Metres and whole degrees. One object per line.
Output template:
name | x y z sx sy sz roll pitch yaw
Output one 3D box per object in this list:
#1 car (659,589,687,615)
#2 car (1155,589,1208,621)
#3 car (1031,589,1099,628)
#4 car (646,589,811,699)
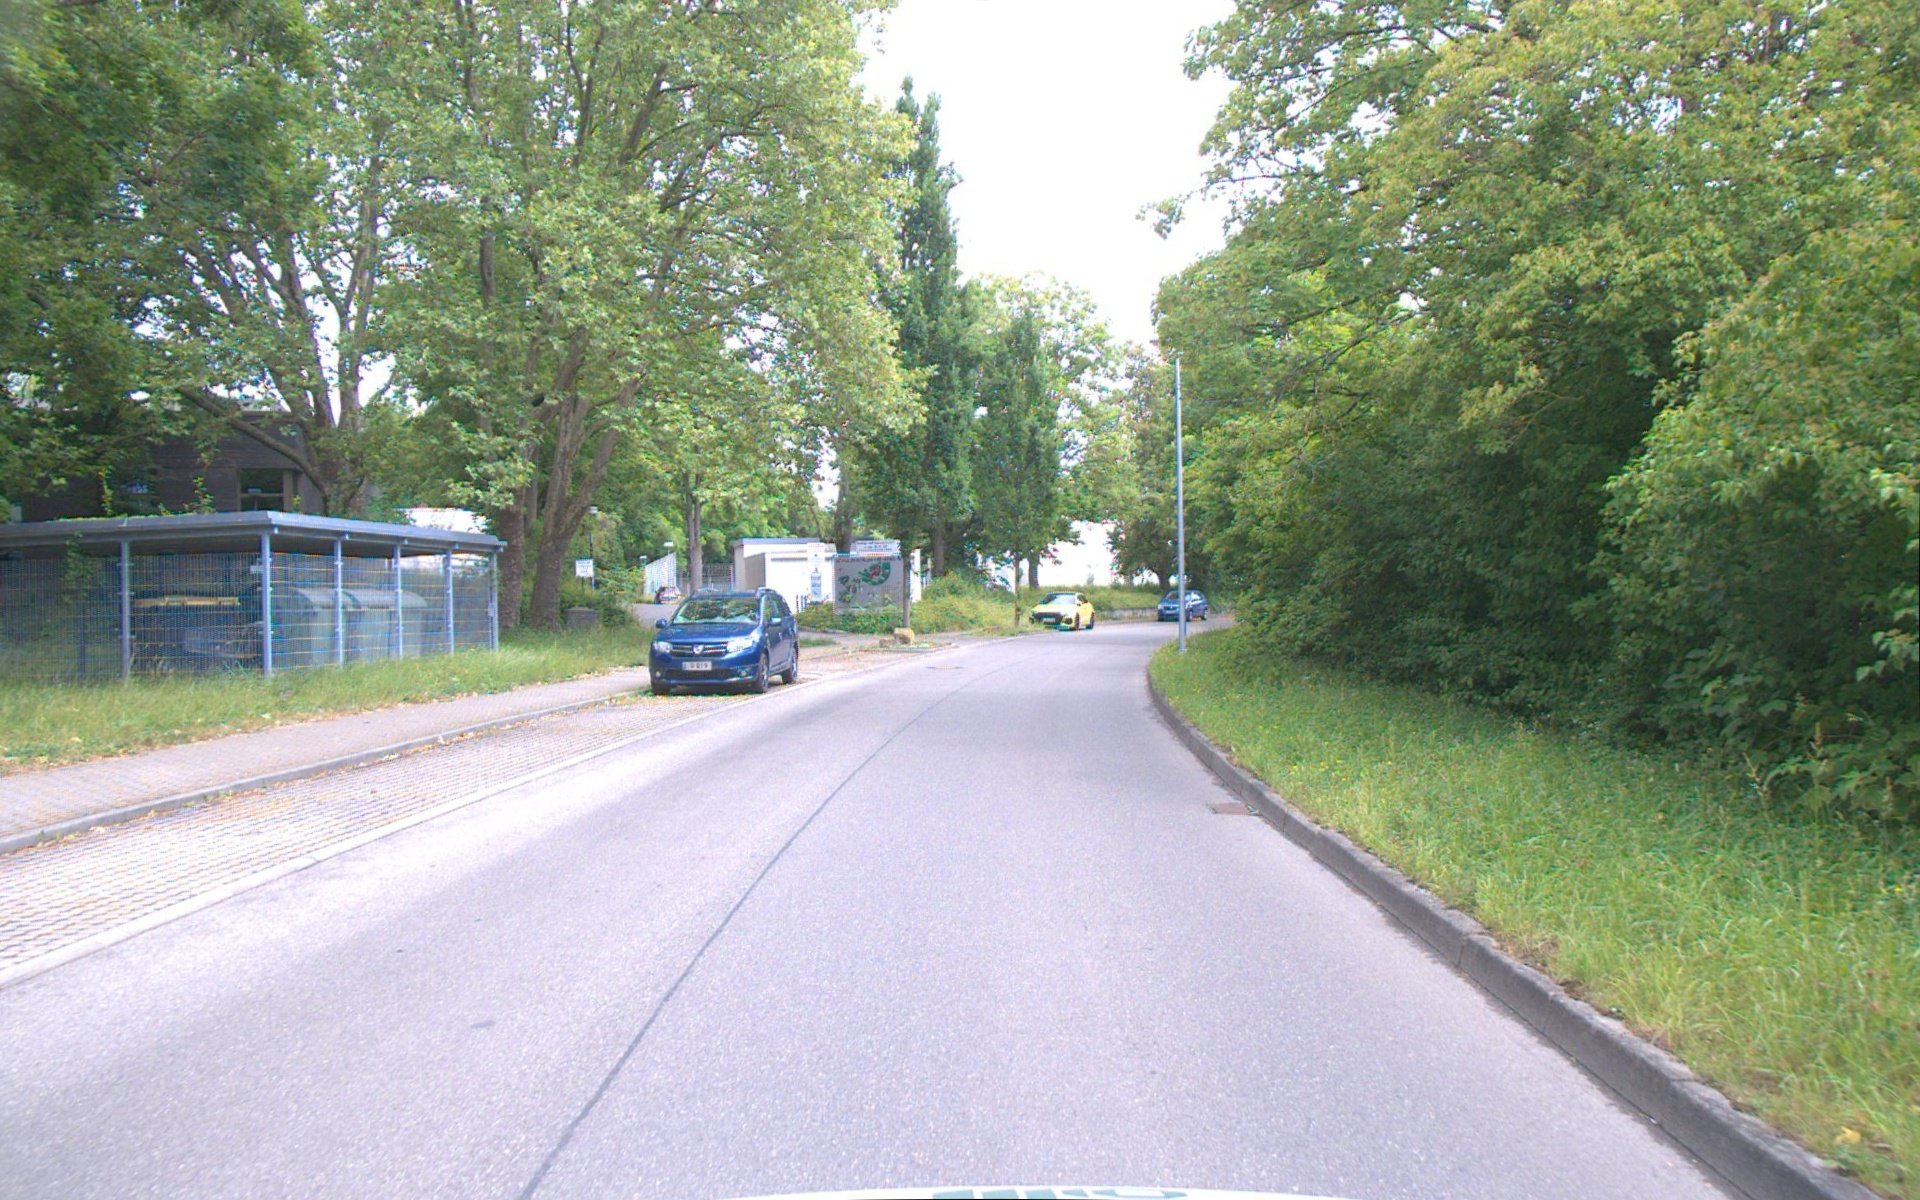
car | -21.133 0.133 122.072 1.837 1.776 3.993 -2 0 -8
car | 10.725 0.244 79.983 1.503 1.484 3.718 -1 0 25
car | 4.058 0.323 63.344 1.664 1.427 4.276 0 0 17
car | -3.489 0.615 25.724 1.644 1.538 4.433 -1 0 4
